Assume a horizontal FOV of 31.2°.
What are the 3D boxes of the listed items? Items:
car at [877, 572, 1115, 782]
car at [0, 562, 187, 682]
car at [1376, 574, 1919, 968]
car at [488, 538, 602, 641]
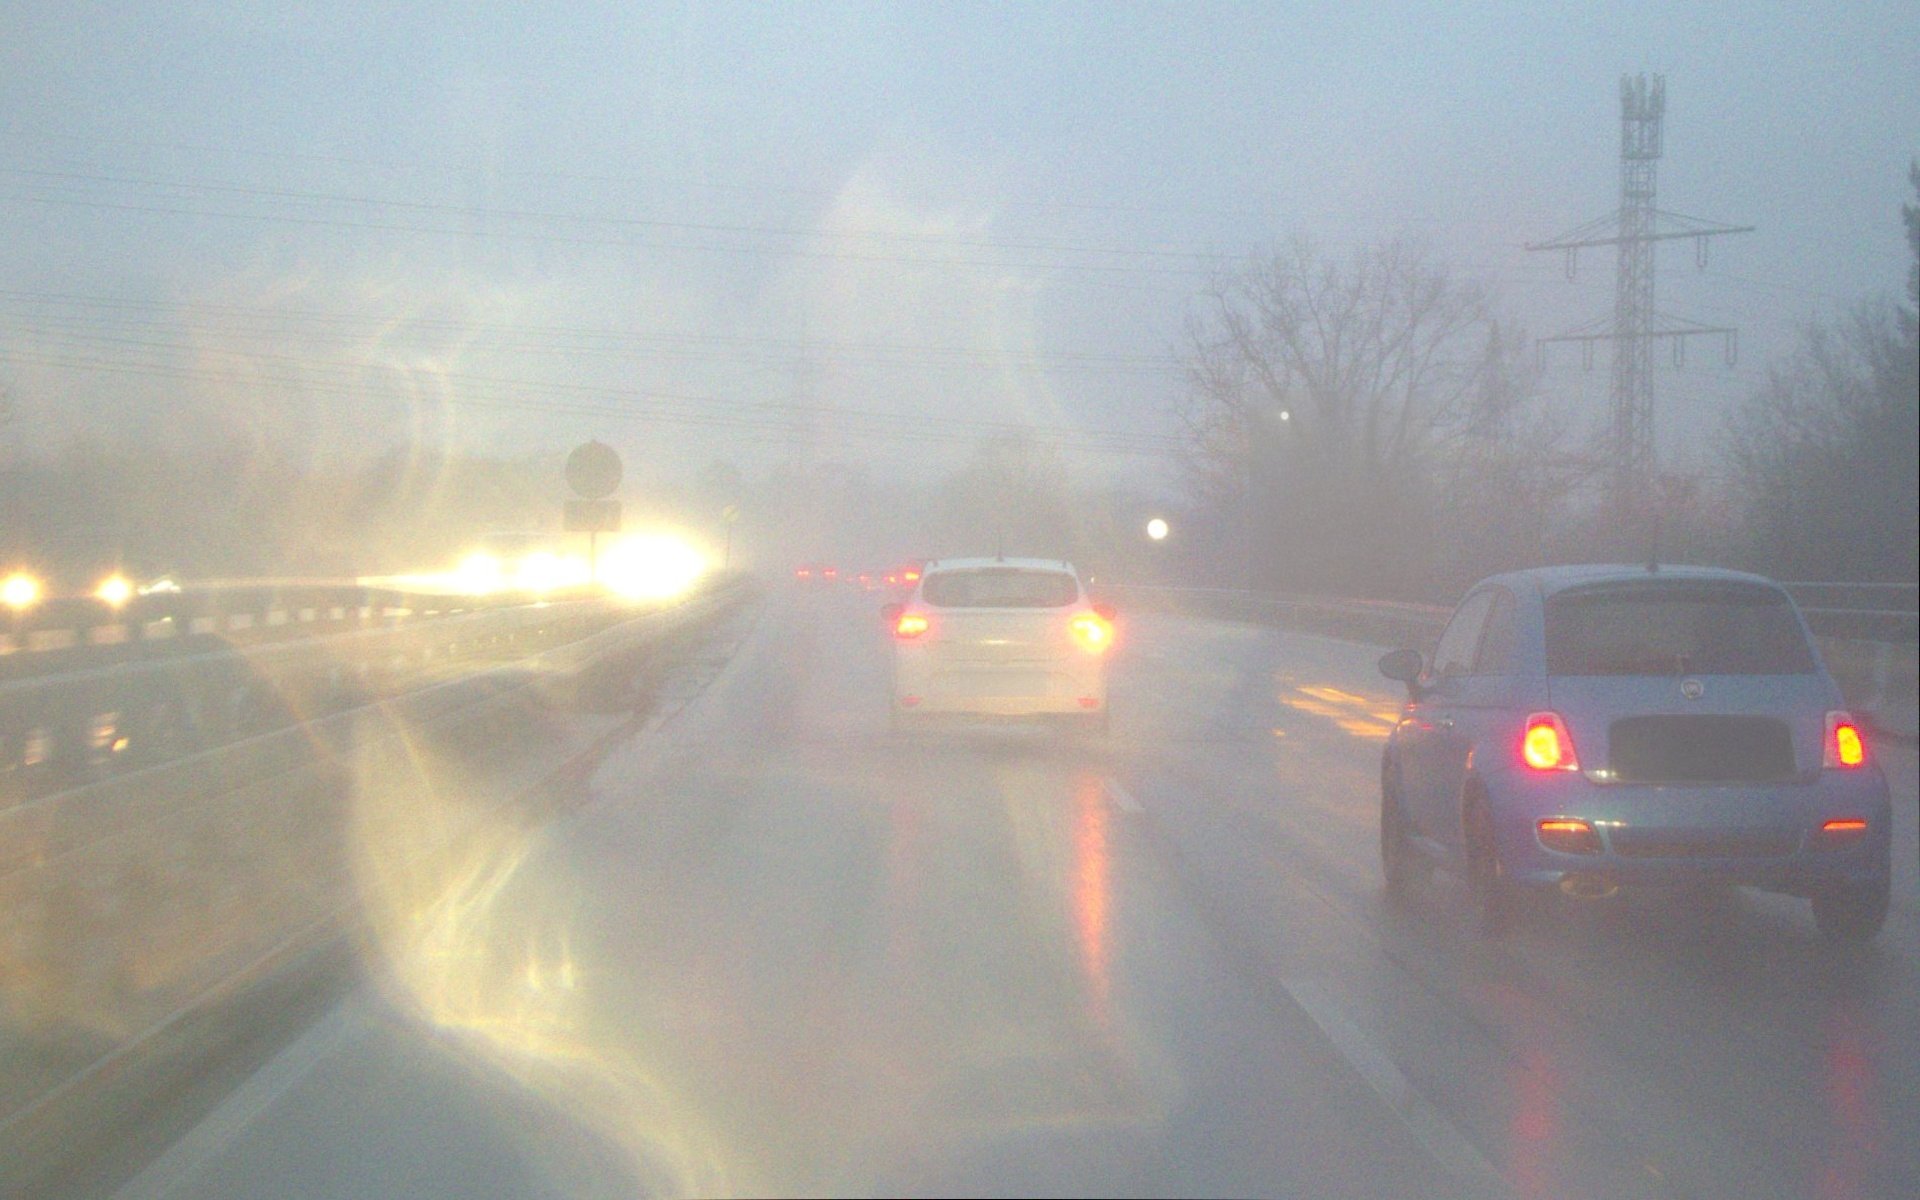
[{"bbox_3d":[0.235,0.601,28.756,1.845,1.630,3.768,0,0,-1],"label":"car"},{"bbox_3d":[-13.078,0.297,51.970,1.835,1.630,4.545,0,2,-1],"label":"car"},{"bbox_3d":[3.105,0.659,15.629,1.845,1.448,4.149,0,2,-1],"label":"car"},{"bbox_3d":[-9.188,-0.277,76.460,1.993,2.128,5.200,0,2,-1],"label":"car"}]
